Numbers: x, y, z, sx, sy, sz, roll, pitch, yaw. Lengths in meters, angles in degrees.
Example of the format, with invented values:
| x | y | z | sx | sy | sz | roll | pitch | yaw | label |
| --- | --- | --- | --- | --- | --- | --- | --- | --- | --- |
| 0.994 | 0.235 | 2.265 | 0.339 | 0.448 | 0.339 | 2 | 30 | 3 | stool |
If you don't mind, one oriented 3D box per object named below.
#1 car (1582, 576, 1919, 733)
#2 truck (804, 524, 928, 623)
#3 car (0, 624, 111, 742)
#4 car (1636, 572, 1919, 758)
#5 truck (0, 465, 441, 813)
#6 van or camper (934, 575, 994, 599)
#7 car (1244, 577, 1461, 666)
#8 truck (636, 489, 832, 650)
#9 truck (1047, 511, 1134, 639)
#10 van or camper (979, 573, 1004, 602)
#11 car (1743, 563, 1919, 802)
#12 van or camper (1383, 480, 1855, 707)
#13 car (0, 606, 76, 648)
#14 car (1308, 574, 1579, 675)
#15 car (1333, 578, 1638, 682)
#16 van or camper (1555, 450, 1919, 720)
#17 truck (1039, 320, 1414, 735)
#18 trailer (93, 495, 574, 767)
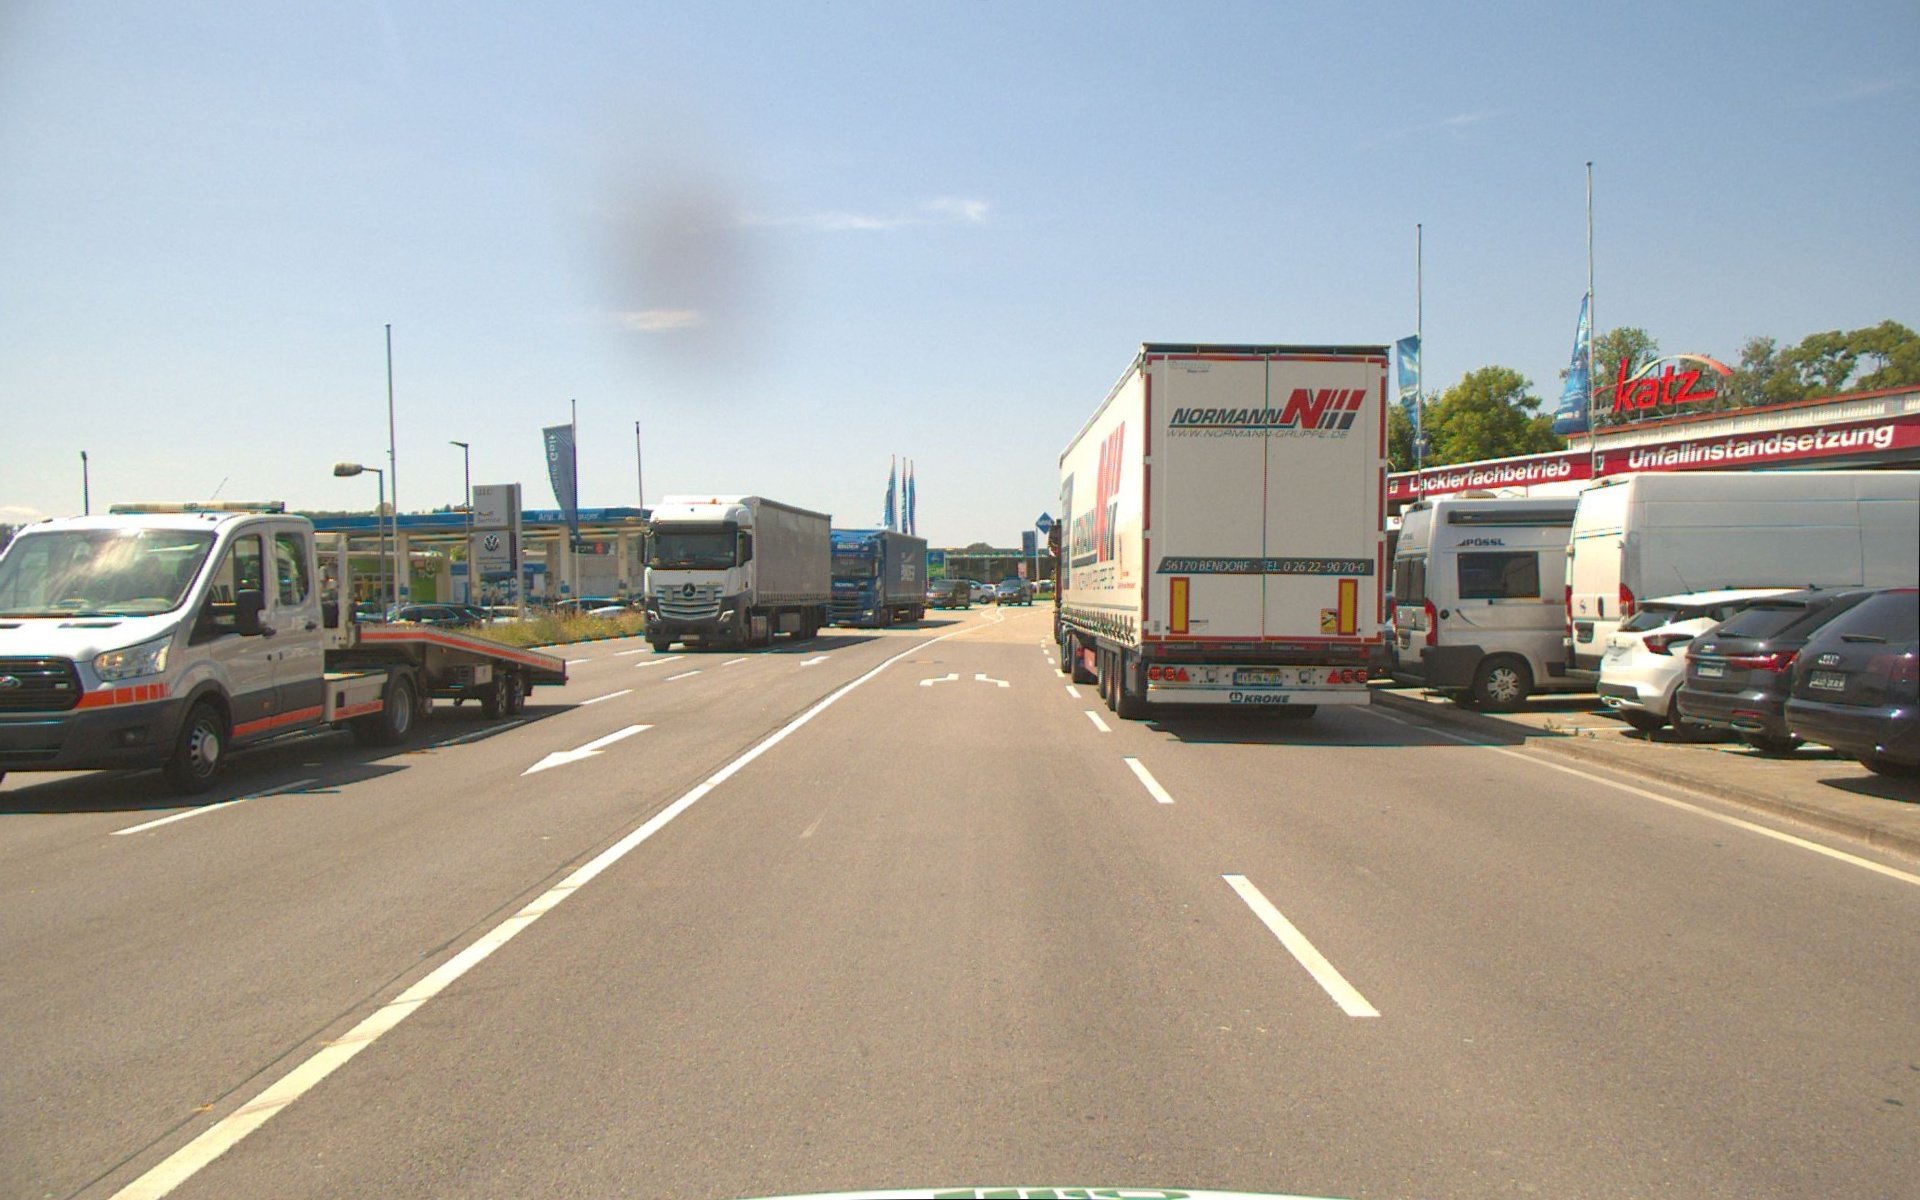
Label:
| x | y | z | sx | sy | sz | roll | pitch | yaw | label |
| --- | --- | --- | --- | --- | --- | --- | --- | --- | --- |
| 8.604 | 0.531 | 17.036 | 3.729 | 1.525 | 1.855 | 0 | 0 | 3 | car |
| -3.916 | -1.031 | 74.275 | 2.784 | 3.957 | 17.017 | 0 | 0 | 6 | truck |
| -15.771 | 1.347 | 26.480 | 3.813 | 1.780 | 1.783 | -2 | 0 | -29 | car |
| 8.564 | 0.522 | 14.728 | 4.239 | 1.525 | 2.080 | 0 | 0 | -2 | car |
| -6.783 | 0.282 | 14.392 | 2.374 | 2.381 | 5.677 | -3 | 0 | 3 | truck |
| 0.343 | -1.089 | 138.136 | 4.744 | 1.938 | 1.906 | 0 | 0 | 9 | van or camper |
| 8.212 | 0.440 | 34.799 | 3.934 | 1.507 | 1.976 | -4 | 0 | -6 | car |
| -6.209 | -0.727 | 49.005 | 2.732 | 3.957 | 16.489 | 0 | 0 | 3 | truck |
| 4.415 | -0.811 | 58.011 | 2.592 | 3.873 | 13.365 | -2 | 0 | 3 | truck |
| 2.421 | -0.990 | 126.857 | 1.798 | 2.175 | 5.344 | 0 | 1 | 2 | van or camper |
| 8.156 | 0.514 | 11.729 | 4.239 | 1.525 | 2.080 | 0 | 0 | -2 | car |
| 8.559 | -0.082 | 21.908 | 5.361 | 2.777 | 2.233 | -1 | 0 | 2 | van or camper |
| -32.321 | 0.924 | 55.790 | 4.102 | 1.332 | 1.691 | -2 | 0 | -16 | car |
| 8.642 | 0.425 | 29.868 | 4.178 | 1.437 | 2.163 | -4 | 0 | 0 | car |
| 8.513 | 0.476 | 27.067 | 4.421 | 1.545 | 1.783 | -1 | 0 | 1 | car |
| 10.031 | -0.183 | 19.459 | 5.257 | 2.956 | 2.233 | -1 | 0 | 2 | van or camper |
| 3.112 | -0.760 | 25.479 | 2.912 | 4.165 | 17.634 | 0 | 0 | 0 | truck |
| -6.557 | 0.274 | 18.609 | 2.377 | 2.379 | 6.899 | -3 | 0 | 3 | trailer |
